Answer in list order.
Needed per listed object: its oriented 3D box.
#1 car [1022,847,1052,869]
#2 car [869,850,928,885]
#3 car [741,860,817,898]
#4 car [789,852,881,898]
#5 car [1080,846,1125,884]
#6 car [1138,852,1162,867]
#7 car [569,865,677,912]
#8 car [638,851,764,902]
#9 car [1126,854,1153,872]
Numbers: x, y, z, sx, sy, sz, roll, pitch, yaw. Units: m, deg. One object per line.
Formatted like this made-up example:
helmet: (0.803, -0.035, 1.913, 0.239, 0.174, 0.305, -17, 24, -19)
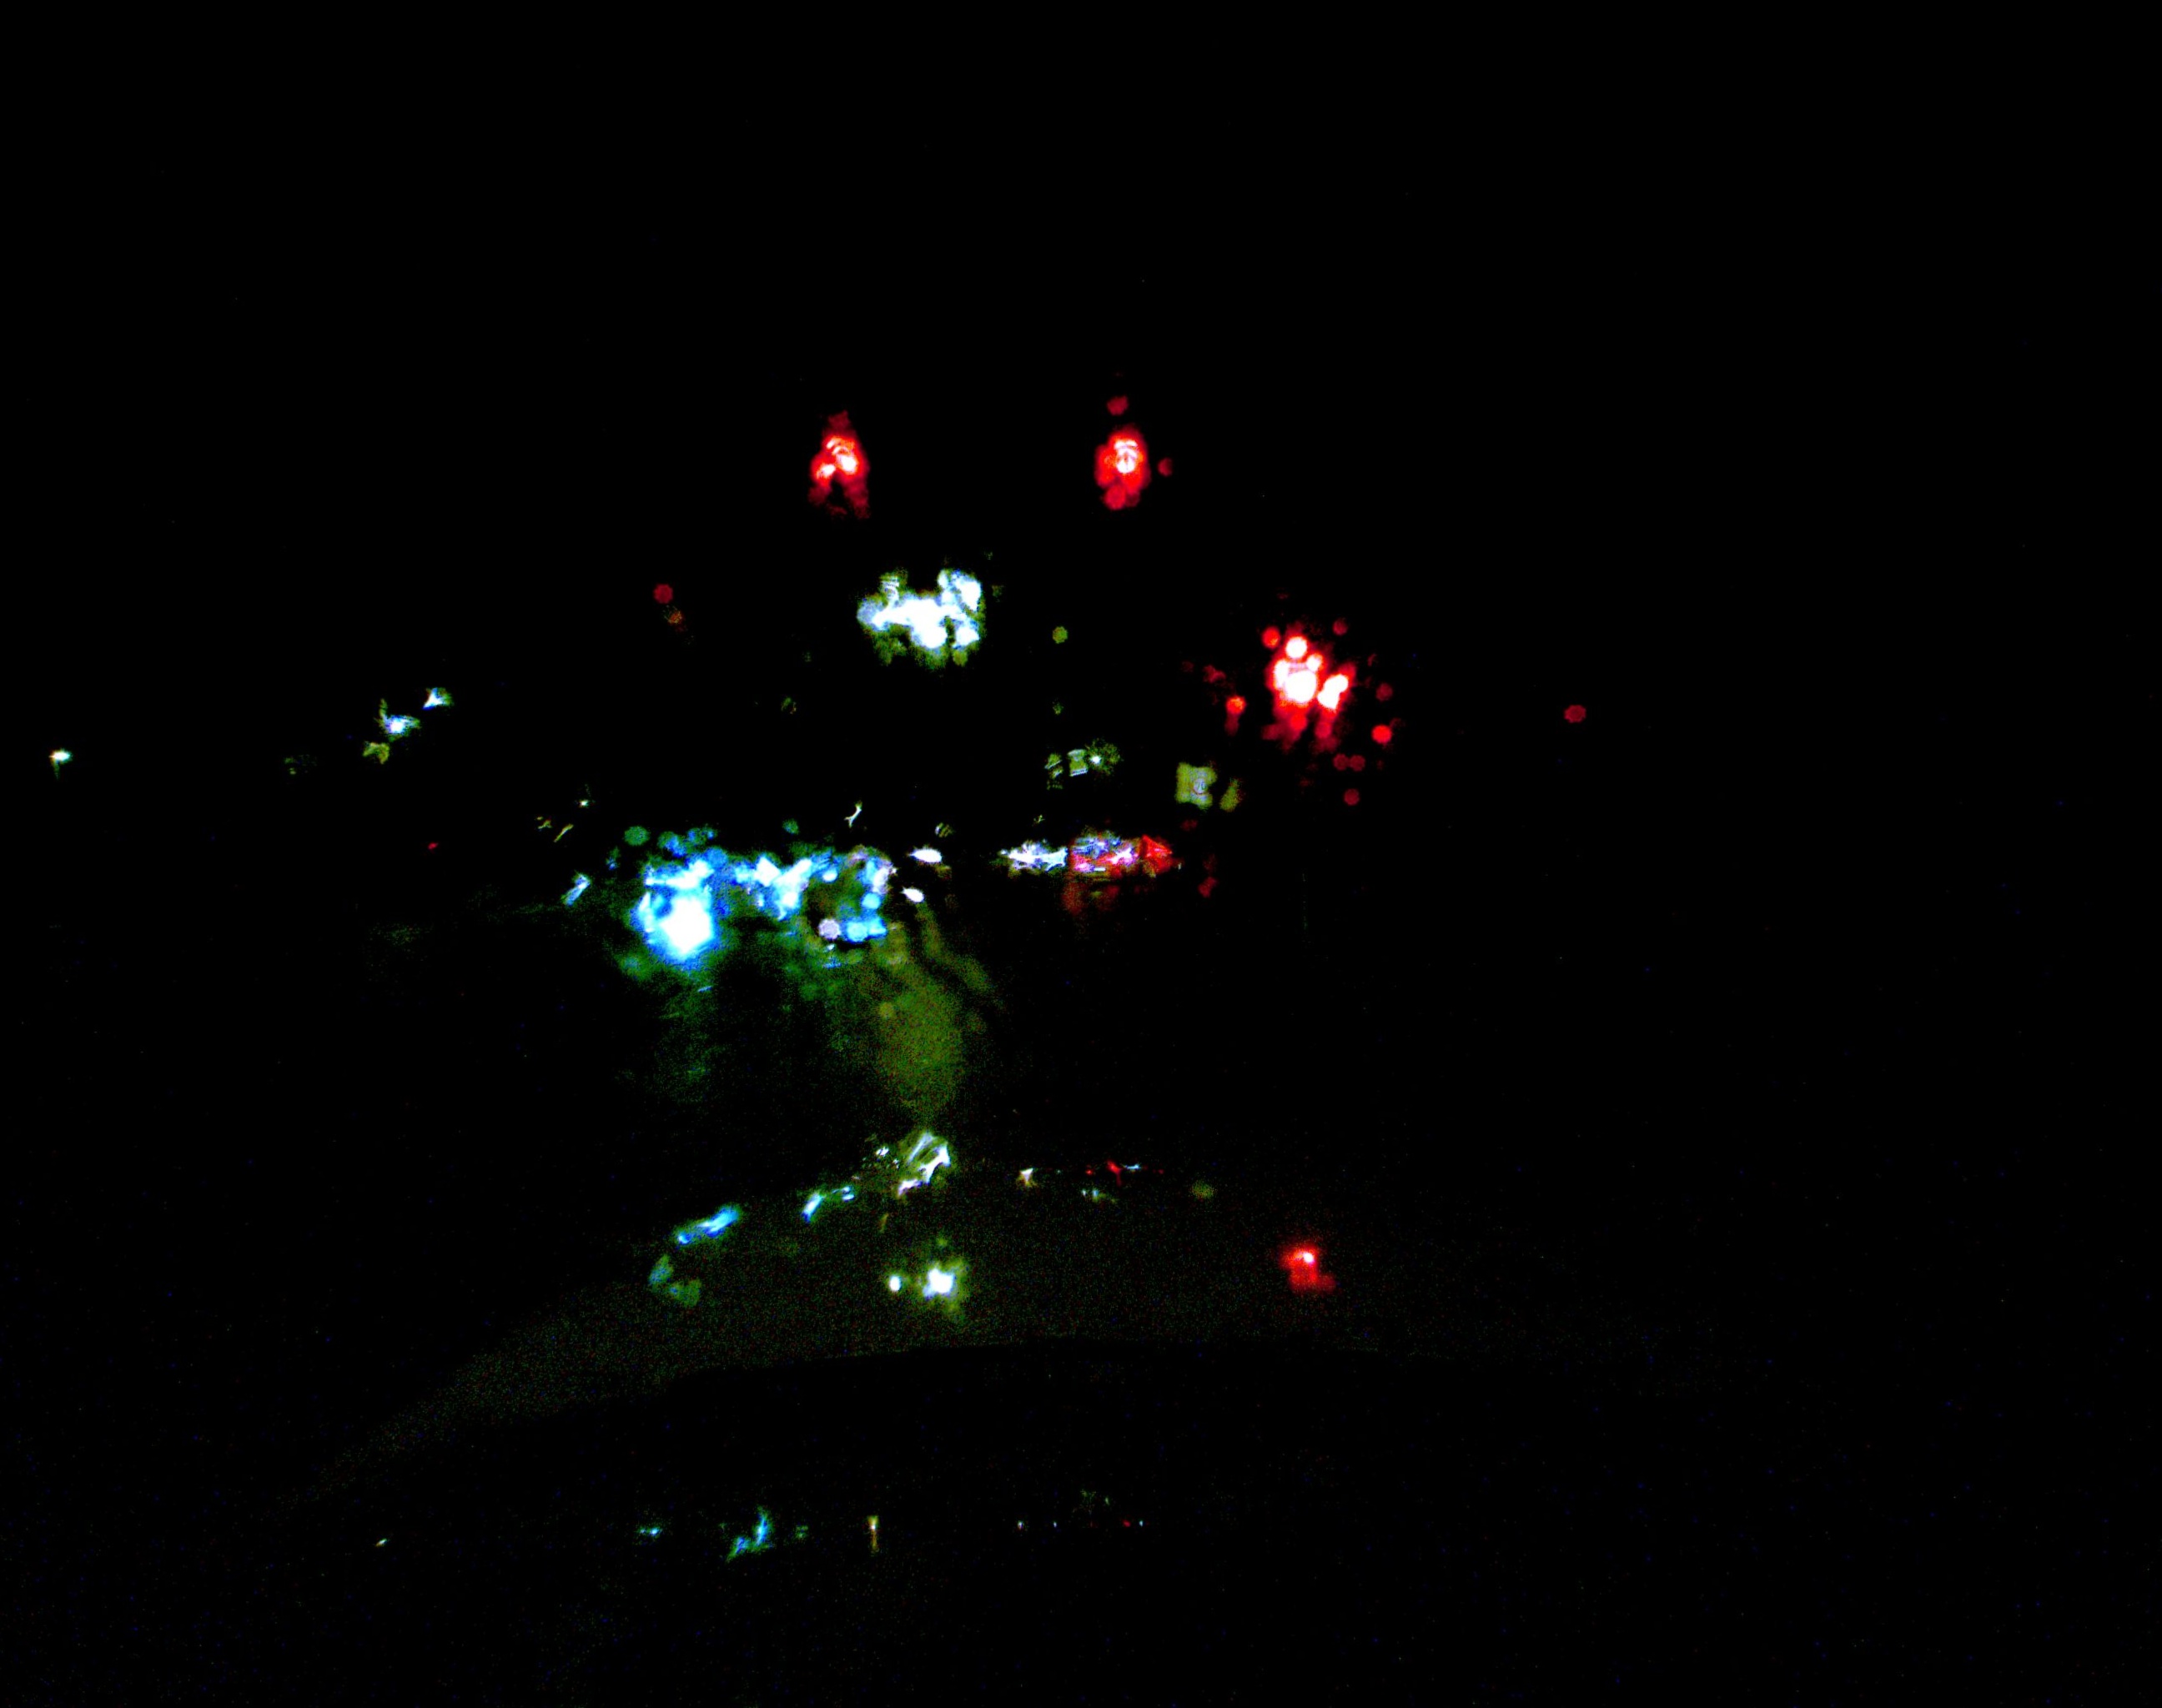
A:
car: (-3.580, 0.339, 66.904, 1.708, 1.703, 4.151, -1, -1, 7)
car: (-8.484, 0.611, 38.094, 1.577, 1.526, 3.658, -1, -1, 6)
car: (-12.588, 1.029, 34.184, 1.661, 1.454, 3.730, -1, -1, 3)
car: (-9.156, 0.717, 30.784, 1.691, 1.571, 4.717, -1, 0, 4)
car: (1.017, 0.514, 38.035, 1.986, 1.611, 4.104, -1, -1, 2)
car: (6.750, 0.537, 80.155, 2.099, 1.339, 4.296, -1, -1, 2)
car: (-20.378, 1.490, 36.280, 4.017, 1.831, 1.703, -2, 0, -35)
car: (-12.777, 0.700, 27.782, 1.785, 1.571, 4.916, -1, 0, 2)
car: (4.870, 0.736, 68.743, 2.095, 1.439, 4.002, -1, -1, 2)
